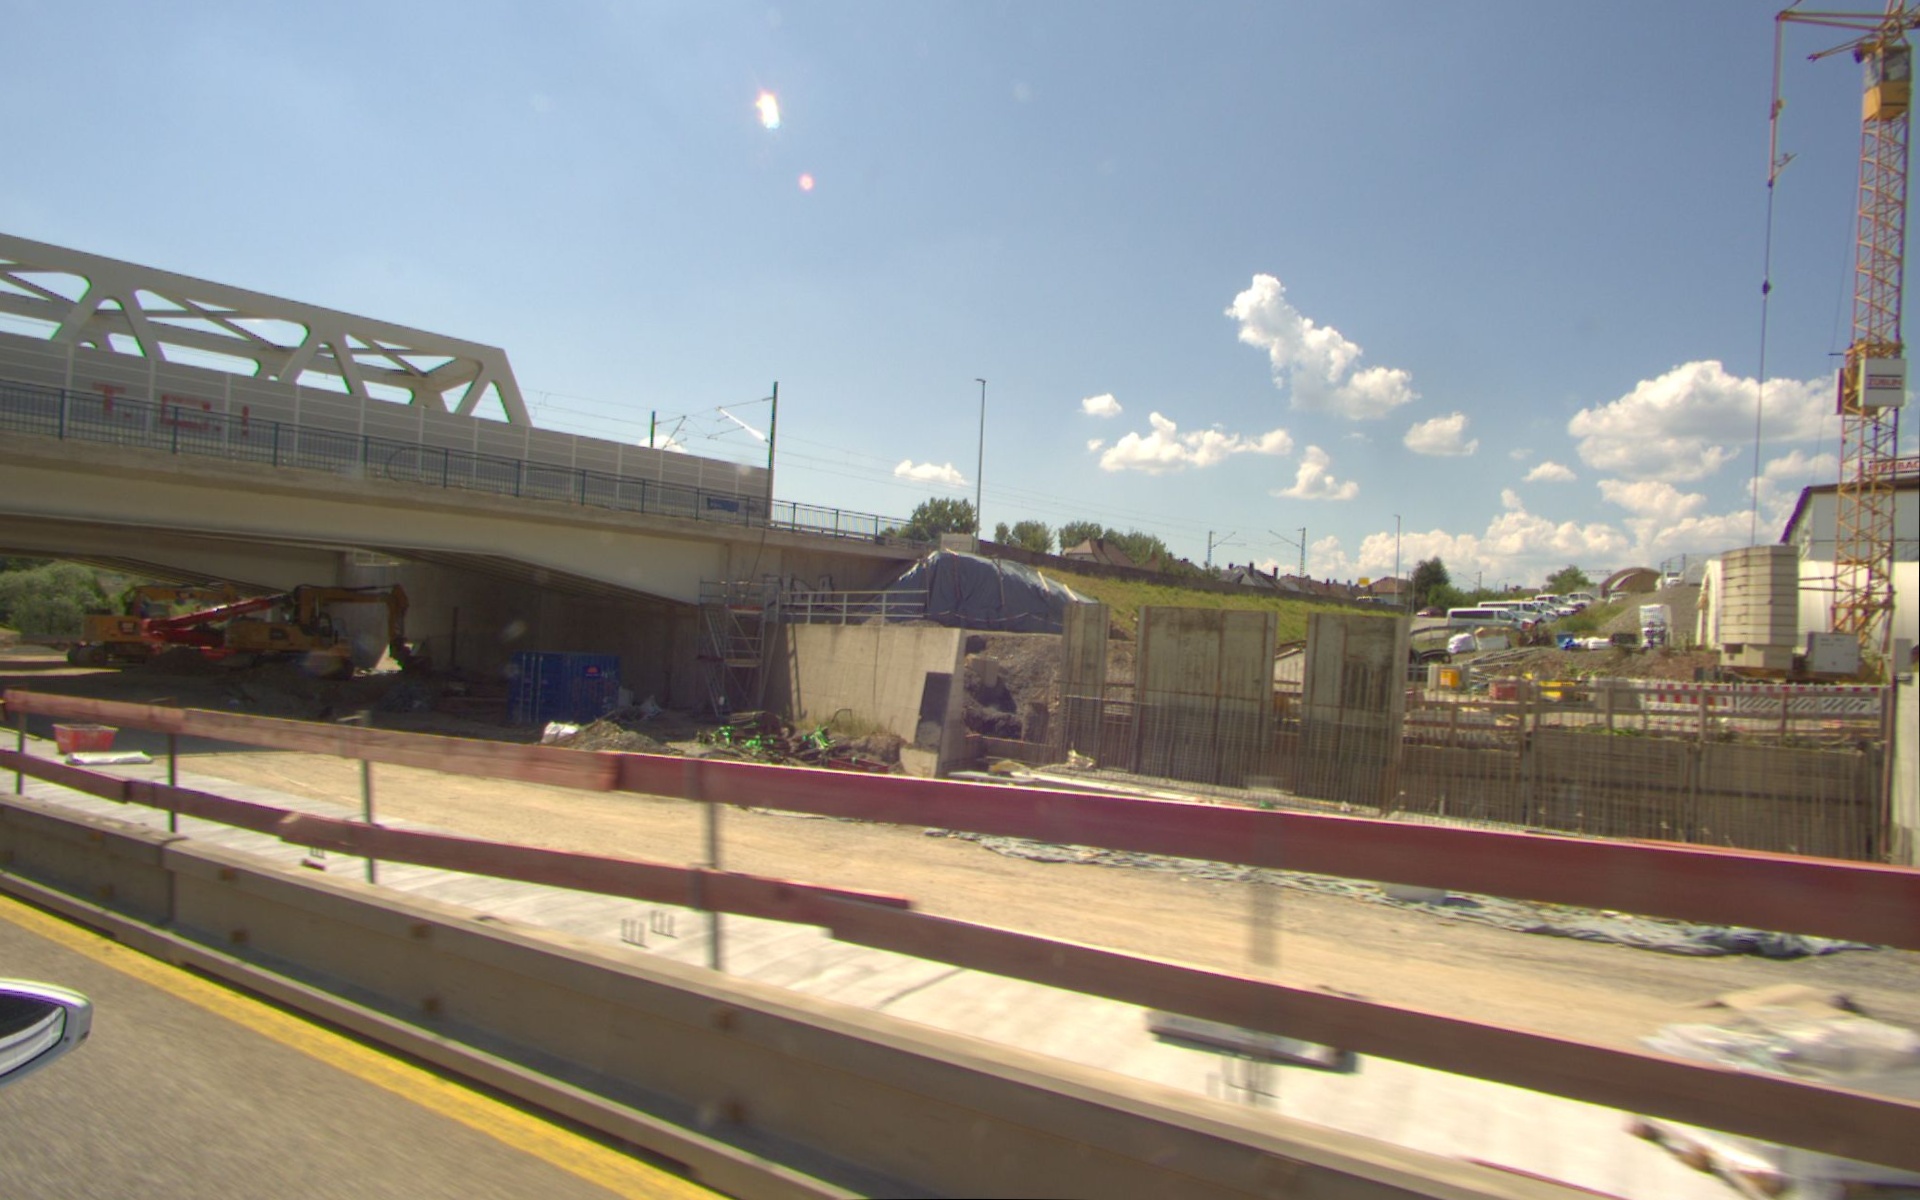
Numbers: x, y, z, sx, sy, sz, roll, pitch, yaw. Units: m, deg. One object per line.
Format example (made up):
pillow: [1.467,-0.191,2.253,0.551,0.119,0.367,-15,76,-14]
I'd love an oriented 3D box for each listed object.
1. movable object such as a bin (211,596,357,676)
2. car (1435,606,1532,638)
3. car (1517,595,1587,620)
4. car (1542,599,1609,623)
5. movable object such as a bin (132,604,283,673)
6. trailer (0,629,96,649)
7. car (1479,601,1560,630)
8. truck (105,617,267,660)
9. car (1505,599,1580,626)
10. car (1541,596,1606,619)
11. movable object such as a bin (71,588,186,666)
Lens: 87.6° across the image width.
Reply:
movable object such as a bin: [-29.907,1.670,44.434,2.951,3.327,4.544,-1,-4,35]
car: [34.728,1.493,66.524,5.499,1.984,1.988,-2,-3,36]
car: [49.880,0.678,84.380,4.921,1.984,1.988,-2,-3,36]
car: [54.406,0.992,88.548,4.921,1.984,1.988,-2,-3,36]
movable object such as a bin: [-36.043,1.940,48.122,2.464,3.093,5.228,-1,-4,35]
trailer: [-58.527,2.504,63.914,2.026,1.235,4.707,-1,-3,31]
car: [40.732,1.148,72.933,4.921,1.984,1.988,-2,-3,36]
truck: [-42.381,2.164,55.007,2.629,2.099,6.508,0,-3,35]
car: [45.766,0.990,78.662,4.921,1.984,1.988,-2,-3,36]
car: [56.098,0.716,91.583,4.921,1.984,1.988,-2,-3,36]
movable object such as a bin: [-40.414,1.395,48.697,2.872,3.585,3.863,-2,-4,42]
